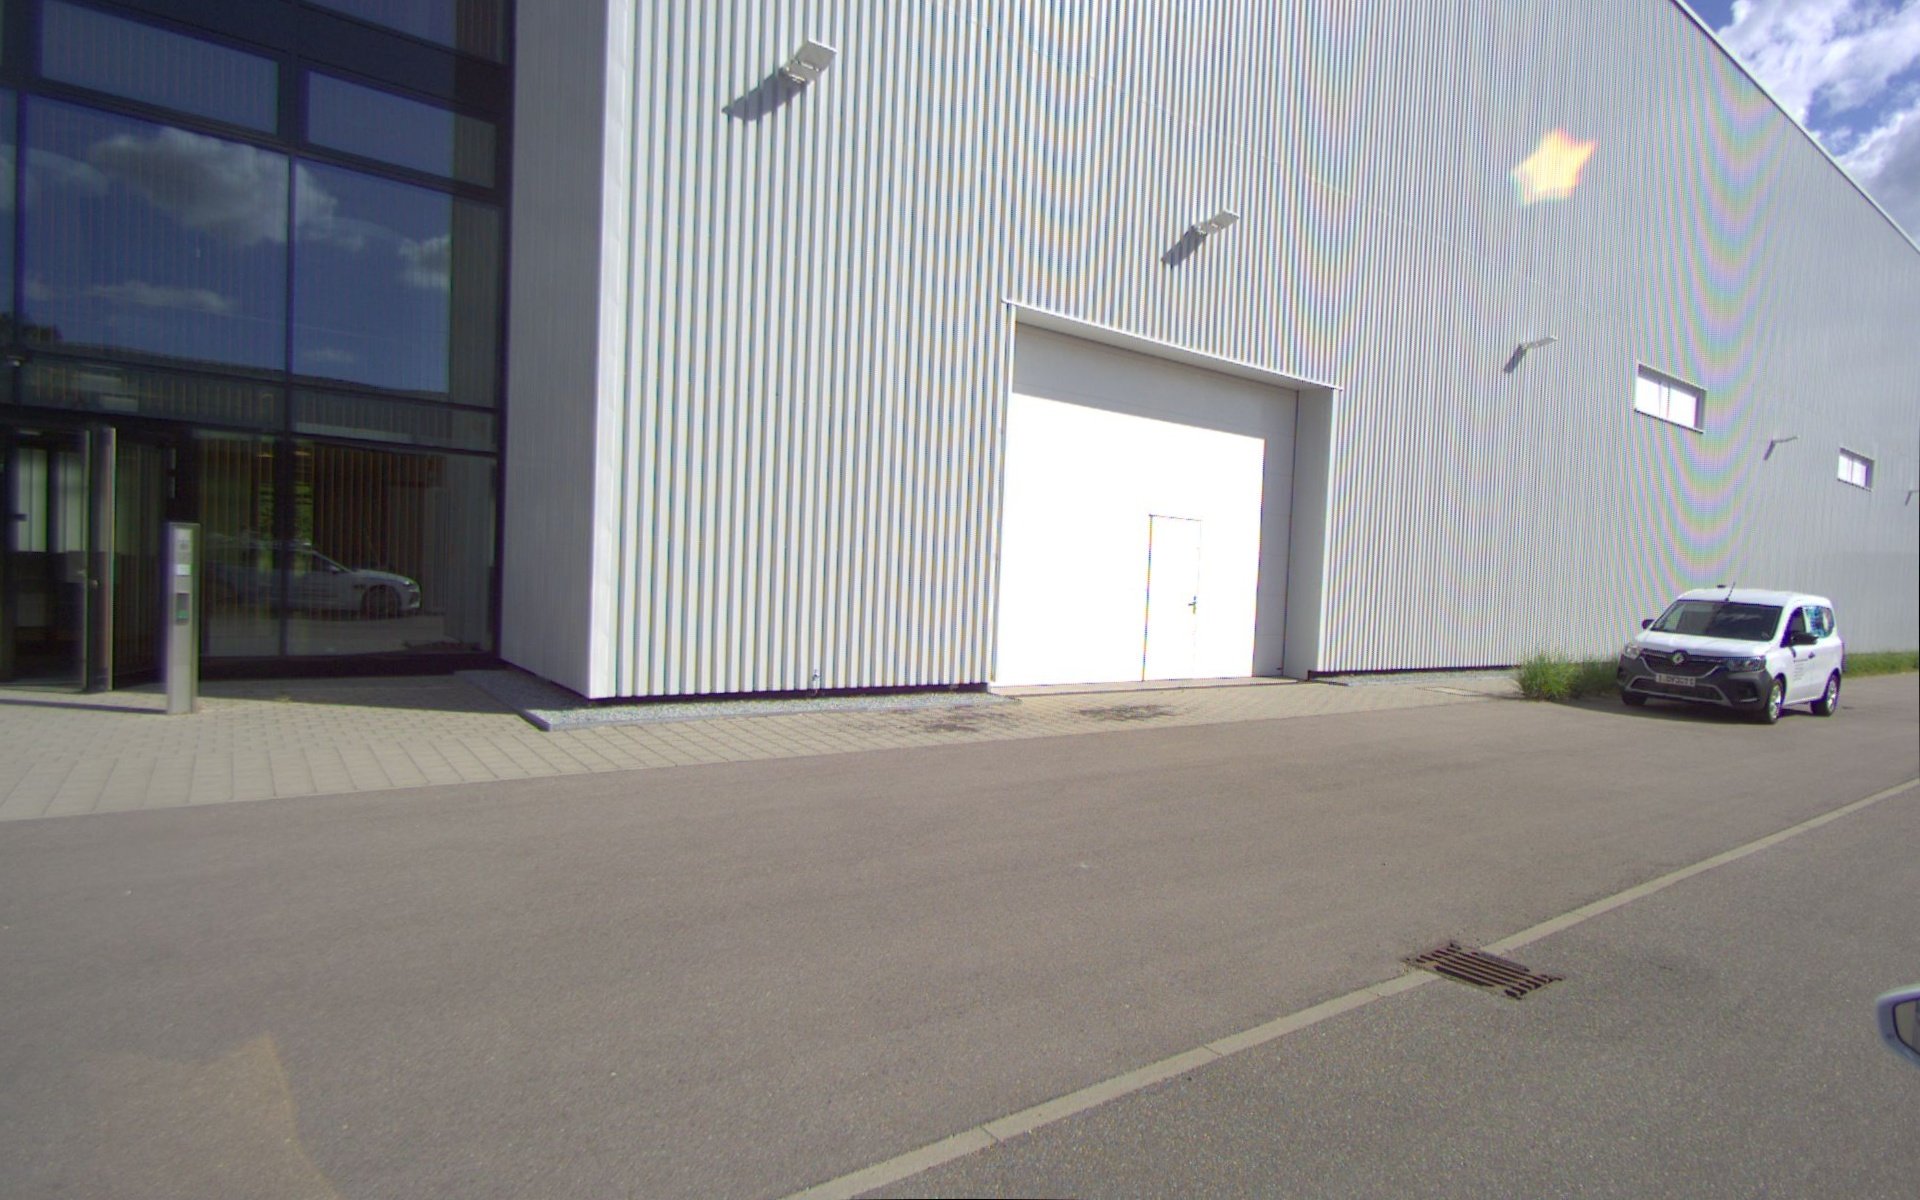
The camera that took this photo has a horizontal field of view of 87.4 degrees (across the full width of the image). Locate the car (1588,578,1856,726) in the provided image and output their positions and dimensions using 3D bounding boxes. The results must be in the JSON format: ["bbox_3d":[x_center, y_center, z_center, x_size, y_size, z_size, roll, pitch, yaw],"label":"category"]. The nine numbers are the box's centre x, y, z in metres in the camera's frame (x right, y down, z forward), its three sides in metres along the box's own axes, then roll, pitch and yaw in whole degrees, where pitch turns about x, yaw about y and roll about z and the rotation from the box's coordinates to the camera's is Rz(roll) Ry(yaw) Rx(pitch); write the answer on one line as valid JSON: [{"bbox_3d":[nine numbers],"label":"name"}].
[{"bbox_3d":[11.457,0.694,14.998,4.555,1.814,1.914,1,3,-37],"label":"car"}]
